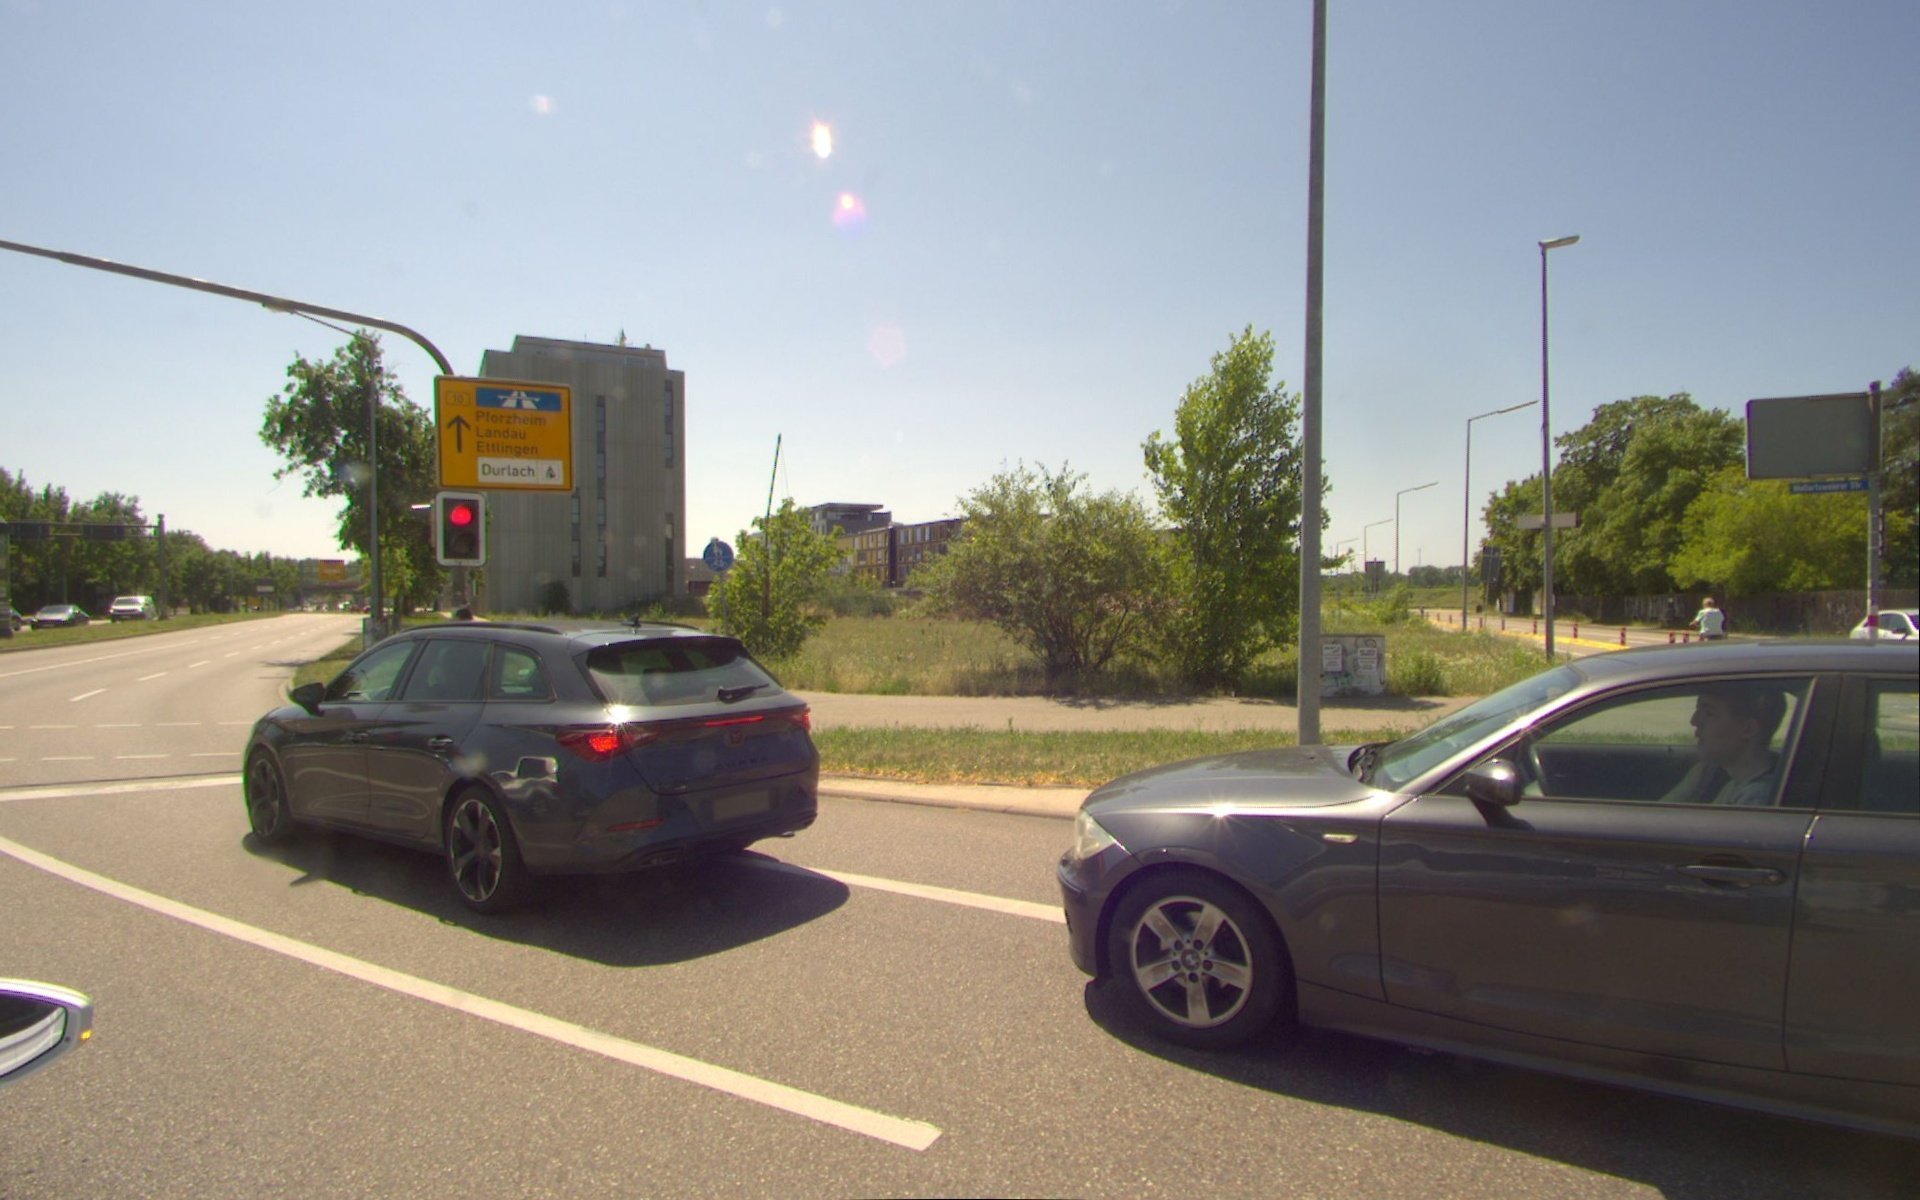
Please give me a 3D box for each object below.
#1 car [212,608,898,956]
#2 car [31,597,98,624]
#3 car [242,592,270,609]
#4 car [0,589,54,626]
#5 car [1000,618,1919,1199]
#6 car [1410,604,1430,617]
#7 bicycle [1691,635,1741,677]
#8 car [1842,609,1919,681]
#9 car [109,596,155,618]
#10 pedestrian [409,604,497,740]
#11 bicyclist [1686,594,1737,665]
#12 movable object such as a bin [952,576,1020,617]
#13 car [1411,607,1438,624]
[{"bbox_3d":[-2.714,0.785,6.315,4.395,1.437,1.988,0,0,36],"label":"car"},{"bbox_3d":[-51.155,0.594,57.283,1.947,1.507,3.980,0,0,-29],"label":"car"},{"bbox_3d":[-73.435,0.053,104.527,1.779,1.714,4.123,-2,0,-28],"label":"car"},{"bbox_3d":[-53.774,0.440,57.261,1.971,2.040,3.980,-2,0,-29],"label":"car"},{"bbox_3d":[2.315,0.800,3.472,4.021,1.421,1.745,0,-1,32],"label":"car"},{"bbox_3d":[56.574,1.307,123.189,1.728,1.565,3.689,0,0,17],"label":"car"},{"bbox_3d":[17.962,1.309,23.774,1.856,0.891,0.623,-1,1,-43],"label":"bicycle"},{"bbox_3d":[21.157,0.939,21.541,1.831,1.447,3.993,-1,0,18],"label":"car"},{"bbox_3d":[-59.824,0.518,72.398,1.842,1.575,3.979,0,0,-29],"label":"car"},{"bbox_3d":[-6.548,0.896,12.935,0.942,1.659,0.753,-2,1,-28],"label":"pedestrian"},{"bbox_3d":[17.918,0.688,23.870,1.151,1.662,0.742,0,1,-42],"label":"bicyclist"},{"bbox_3d":[2.260,-0.315,84.020,2.770,3.191,7.576,-1,0,26],"label":"movable object such as a bin"},{"bbox_3d":[42.275,1.386,91.173,1.728,1.565,3.689,0,0,17],"label":"car"}]
